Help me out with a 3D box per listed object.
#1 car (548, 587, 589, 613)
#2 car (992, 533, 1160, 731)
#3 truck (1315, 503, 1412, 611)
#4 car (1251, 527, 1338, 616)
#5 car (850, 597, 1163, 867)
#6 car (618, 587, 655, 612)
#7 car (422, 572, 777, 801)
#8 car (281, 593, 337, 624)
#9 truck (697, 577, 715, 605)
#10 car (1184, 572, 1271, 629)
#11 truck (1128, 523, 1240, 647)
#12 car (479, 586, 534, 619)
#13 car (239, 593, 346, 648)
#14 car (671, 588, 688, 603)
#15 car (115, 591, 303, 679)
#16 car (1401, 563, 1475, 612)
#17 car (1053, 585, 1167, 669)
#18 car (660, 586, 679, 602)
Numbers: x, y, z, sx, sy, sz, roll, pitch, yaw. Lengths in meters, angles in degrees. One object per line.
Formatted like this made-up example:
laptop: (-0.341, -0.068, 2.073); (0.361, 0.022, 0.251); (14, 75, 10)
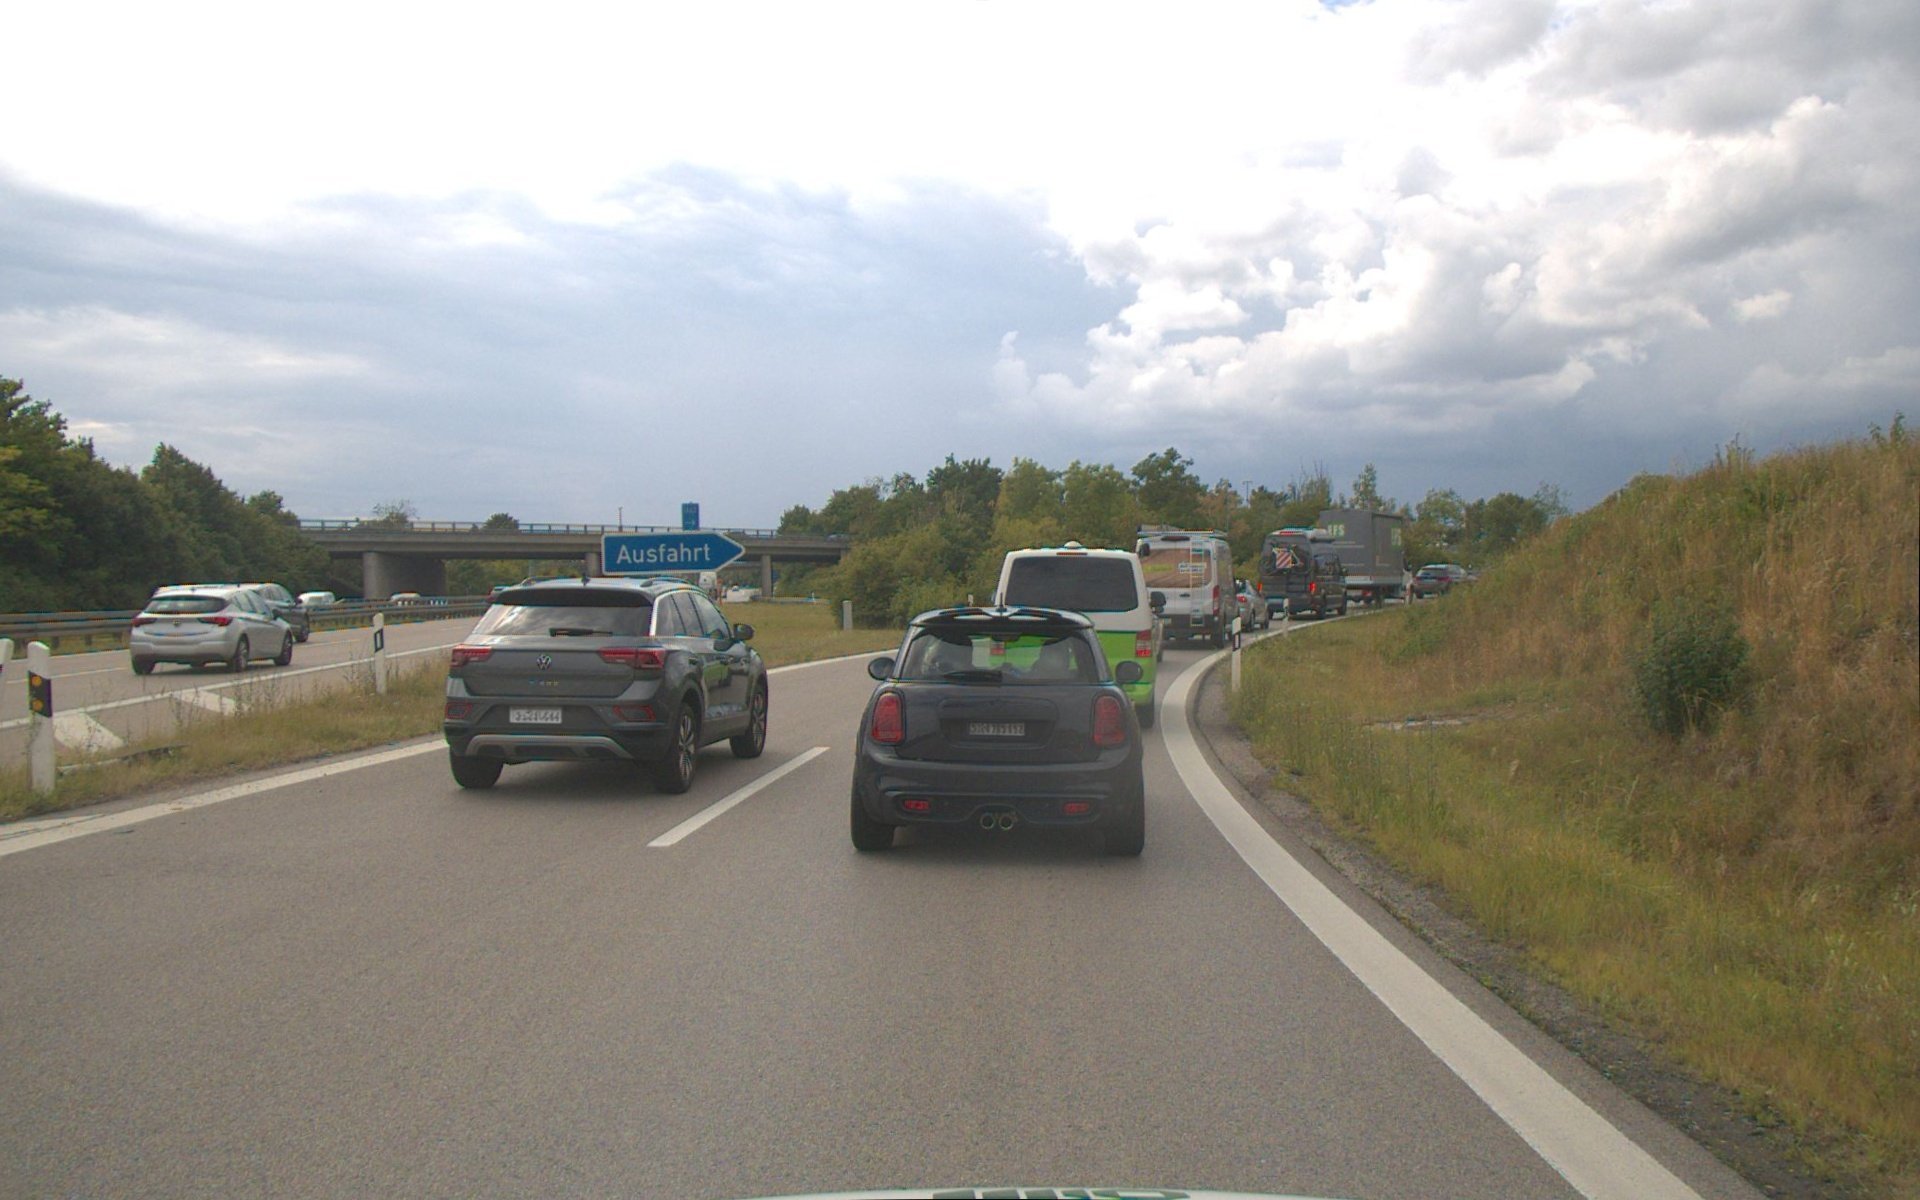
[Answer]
car: (-26.803, -0.031, 113.303); (2.117, 1.700, 4.302); (-1, 0, -5)
car: (1.446, 0.312, 19.314); (1.746, 2.049, 4.003); (0, 0, 7)
truck: (15.885, -1.605, 64.919); (2.186, 3.975, 6.006); (1, 0, 29)
car: (11.188, -0.942, 55.122); (2.062, 2.845, 3.999); (1, 1, 23)
car: (0.305, 0.713, 10.857); (1.691, 1.438, 3.726); (0, 0, 2)
car: (-22.716, -0.069, 116.132); (2.055, 1.700, 4.302); (-1, 0, -5)
car: (-2.722, 0.605, 13.430); (1.758, 1.583, 3.963); (0, 0, 4)
car: (-36.294, 0.447, 92.362); (1.956, 1.680, 3.994); (-1, 0, -7)
truck: (-33.725, -1.167, 219.509); (2.104, 3.569, 3.995); (1, 0, -6)
car: (7.593, -0.011, 46.737); (1.827, 1.536, 4.002); (0, 0, 18)
truck: (5.334, -0.376, 38.739); (2.132, 2.705, 5.113); (0, 1, 13)
car: (-24.181, 0.122, 88.286); (2.055, 1.700, 4.302); (-1, 0, -5)
car: (-18.328, 0.515, 45.605); (1.746, 1.423, 4.298); (-1, 0, -8)
car: (-39.081, -0.664, 230.837); (1.954, 2.002, 3.996); (1, 0, -5)
car: (-13.222, 0.568, 29.366); (1.745, 1.423, 4.025); (-1, 0, -5)
car: (21.217, -0.534, 73.272); (1.960, 2.049, 3.985); (1, 0, 35)
car: (2.795, 0.450, 30.128); (1.724, 1.423, 3.728); (0, 0, 10)
car: (-36.162, -0.728, 206.109); (1.954, 2.002, 3.996); (1, 0, -5)
